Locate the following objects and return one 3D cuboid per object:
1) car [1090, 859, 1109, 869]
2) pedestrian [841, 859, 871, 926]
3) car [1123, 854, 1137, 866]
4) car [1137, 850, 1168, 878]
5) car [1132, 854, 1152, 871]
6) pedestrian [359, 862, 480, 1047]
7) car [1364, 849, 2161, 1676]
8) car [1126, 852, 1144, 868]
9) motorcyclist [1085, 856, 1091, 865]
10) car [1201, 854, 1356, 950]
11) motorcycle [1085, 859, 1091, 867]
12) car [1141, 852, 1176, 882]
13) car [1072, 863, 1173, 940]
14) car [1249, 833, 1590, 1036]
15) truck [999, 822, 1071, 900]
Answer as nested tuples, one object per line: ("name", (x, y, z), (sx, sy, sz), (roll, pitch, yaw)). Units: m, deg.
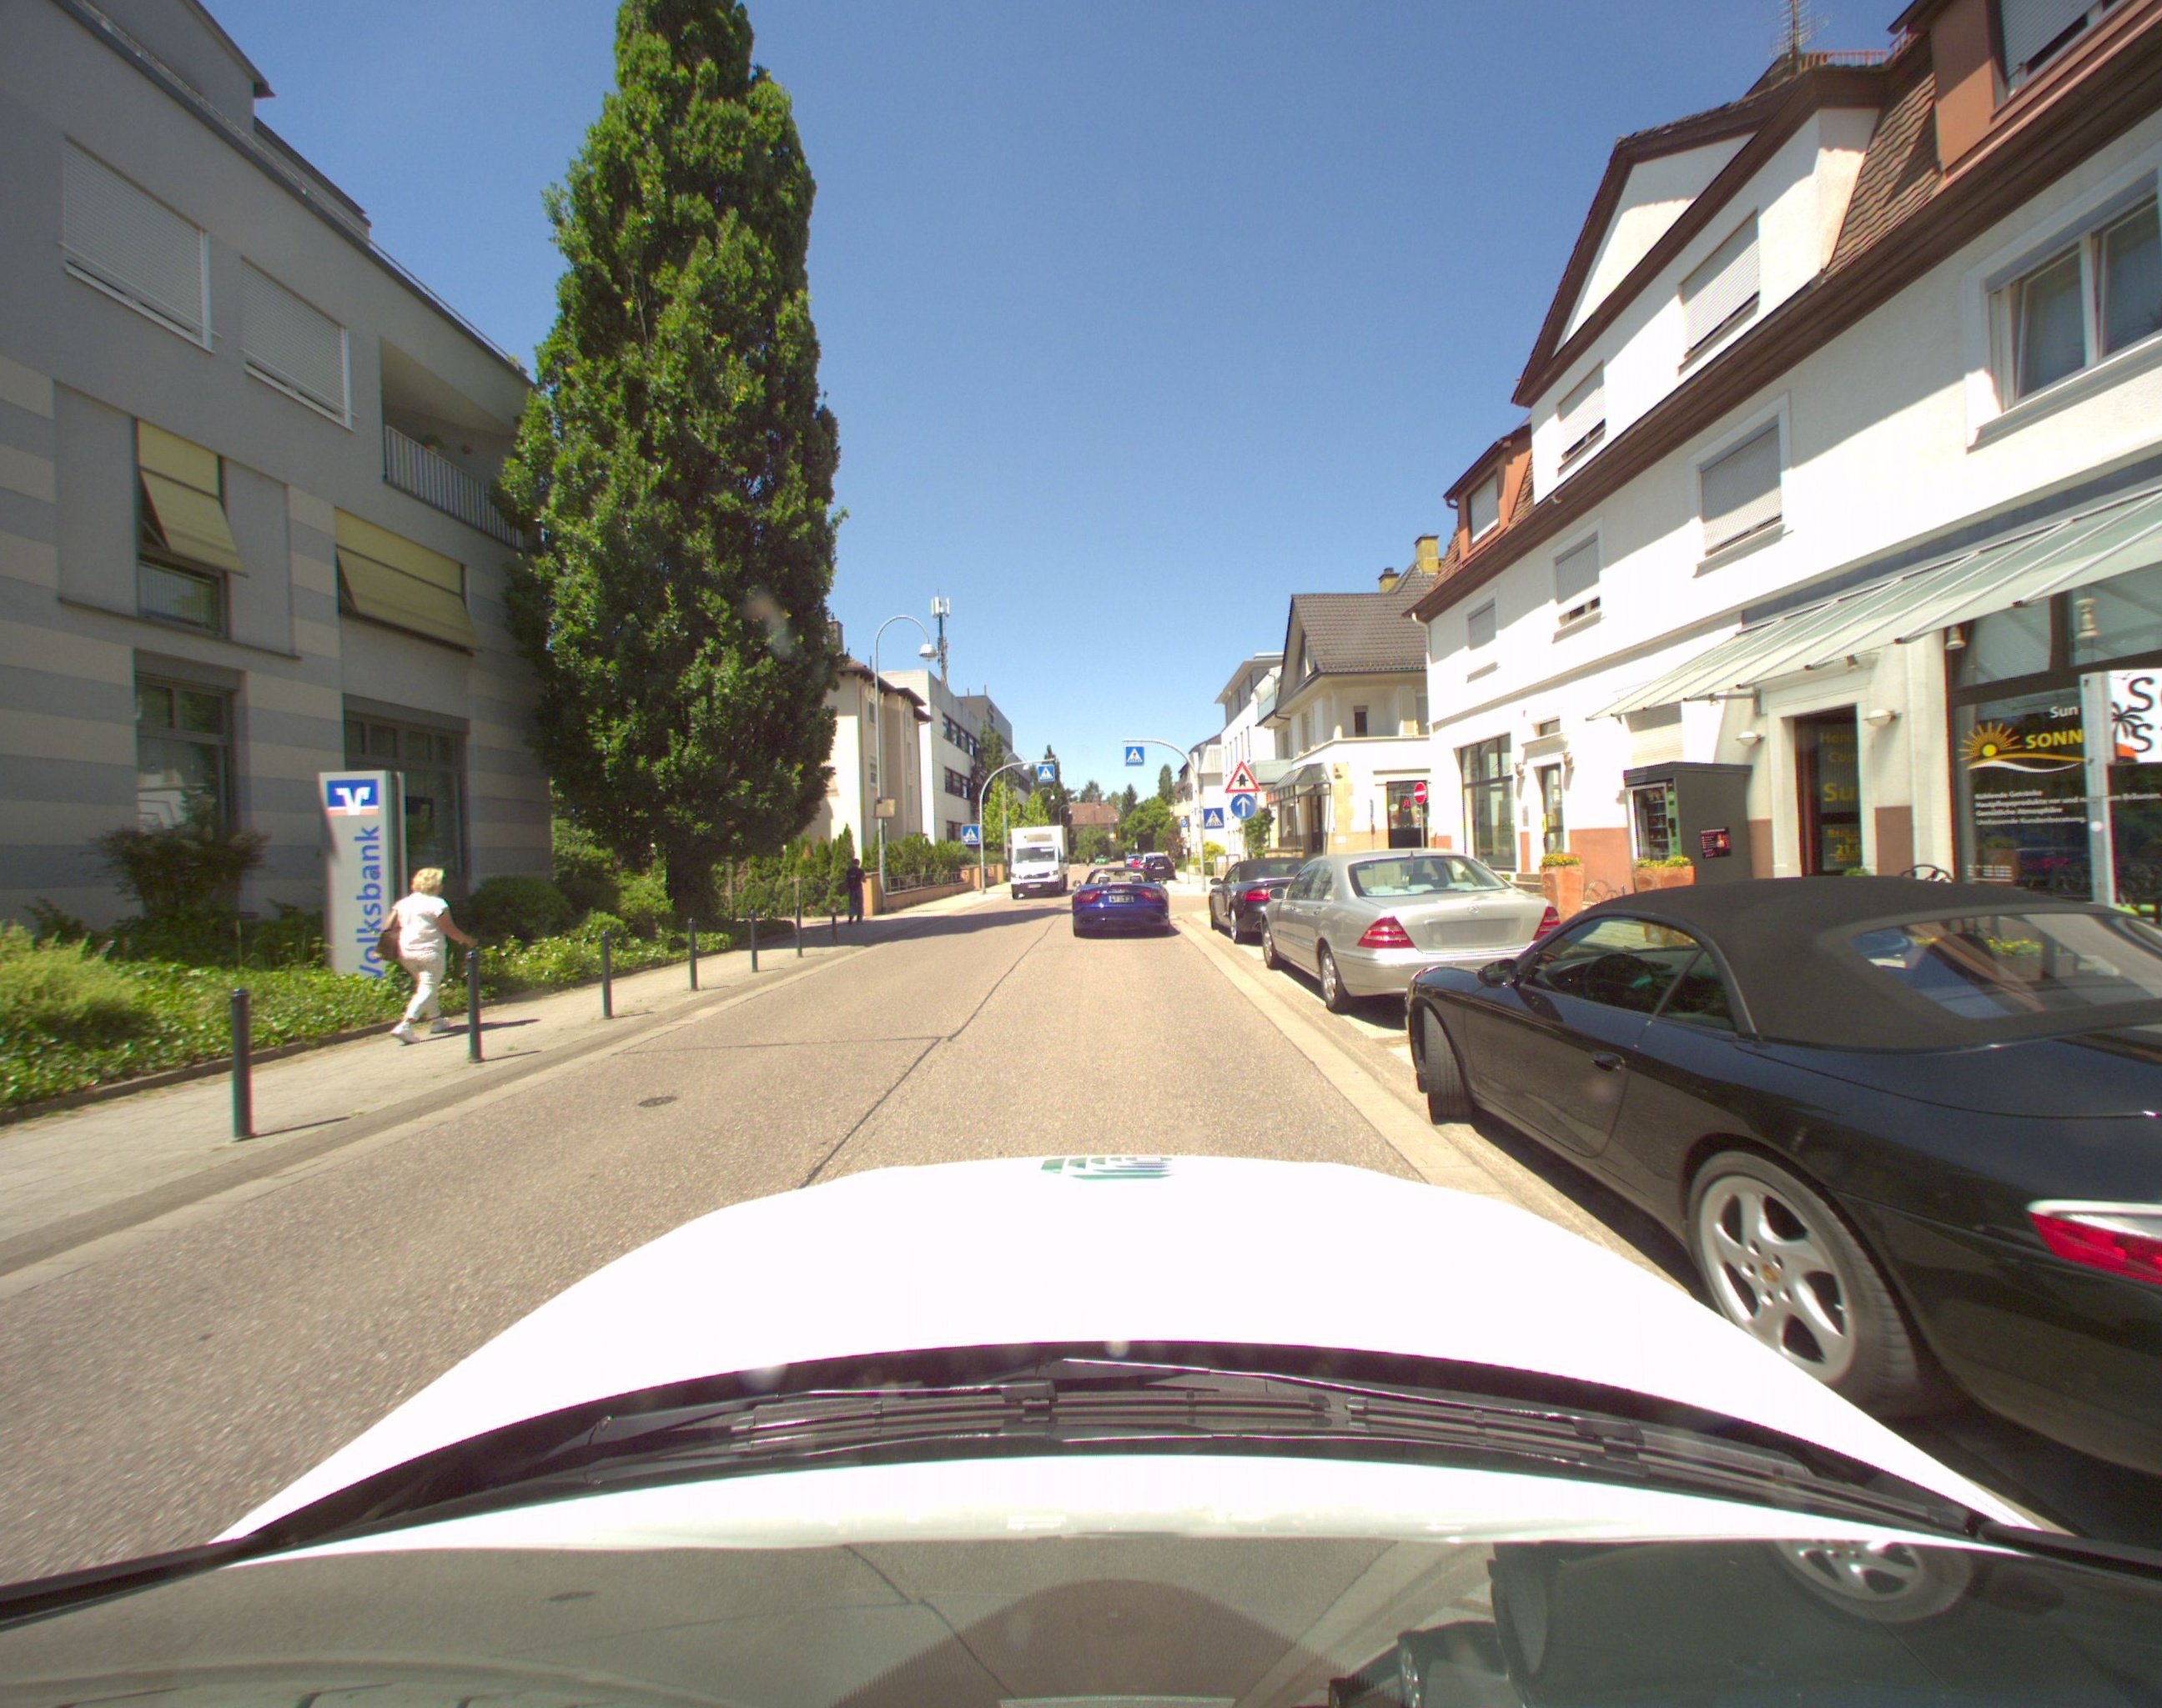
("car", (3.079, 1.607, 136.456), (1.827, 1.588, 4.075), (1, 0, -18))
("pedestrian", (-5.822, 0.992, 21.094), (0.534, 1.685, 0.709), (-2, -1, 2))
("car", (6.463, 0.778, 107.549), (1.625, 1.446, 4.400), (-5, 0, 2))
("car", (4.776, 0.662, 54.841), (1.698, 1.666, 4.583), (-5, 0, 2))
("car", (5.655, 0.791, 75.911), (1.597, 1.440, 3.856), (-5, 0, 3))
("pedestrian", (-6.355, 0.929, 7.856), (0.534, 1.685, 0.709), (-2, -1, 2))
("car", (2.646, 0.703, 3.336), (1.552, 1.340, 4.175), (-4, 0, 2))
("car", (6.175, 0.658, 92.855), (1.836, 1.619, 4.430), (-4, 0, 2))
("motorcyclist", (1.019, 0.971, 121.913), (0.696, 1.433, 0.707), (-4, -1, 2))
("car", (3.421, 0.755, 15.022), (1.820, 1.427, 4.702), (-2, 0, 2))
("motorcycle", (1.042, 1.345, 122.022), (0.696, 1.107, 1.791), (-4, 0, 2))
("car", (4.572, 0.735, 48.309), (1.698, 1.556, 4.750), (-5, 0, 2))
("car", (0.854, 0.908, 17.377), (1.820, 1.337, 4.702), (-1, 0, 2))
("car", (3.165, 0.646, 8.848), (1.737, 1.468, 4.854), (-5, 0, 2))
("truck", (-1.860, 0.271, 35.323), (2.410, 2.983, 6.261), (-3, 0, 2))
